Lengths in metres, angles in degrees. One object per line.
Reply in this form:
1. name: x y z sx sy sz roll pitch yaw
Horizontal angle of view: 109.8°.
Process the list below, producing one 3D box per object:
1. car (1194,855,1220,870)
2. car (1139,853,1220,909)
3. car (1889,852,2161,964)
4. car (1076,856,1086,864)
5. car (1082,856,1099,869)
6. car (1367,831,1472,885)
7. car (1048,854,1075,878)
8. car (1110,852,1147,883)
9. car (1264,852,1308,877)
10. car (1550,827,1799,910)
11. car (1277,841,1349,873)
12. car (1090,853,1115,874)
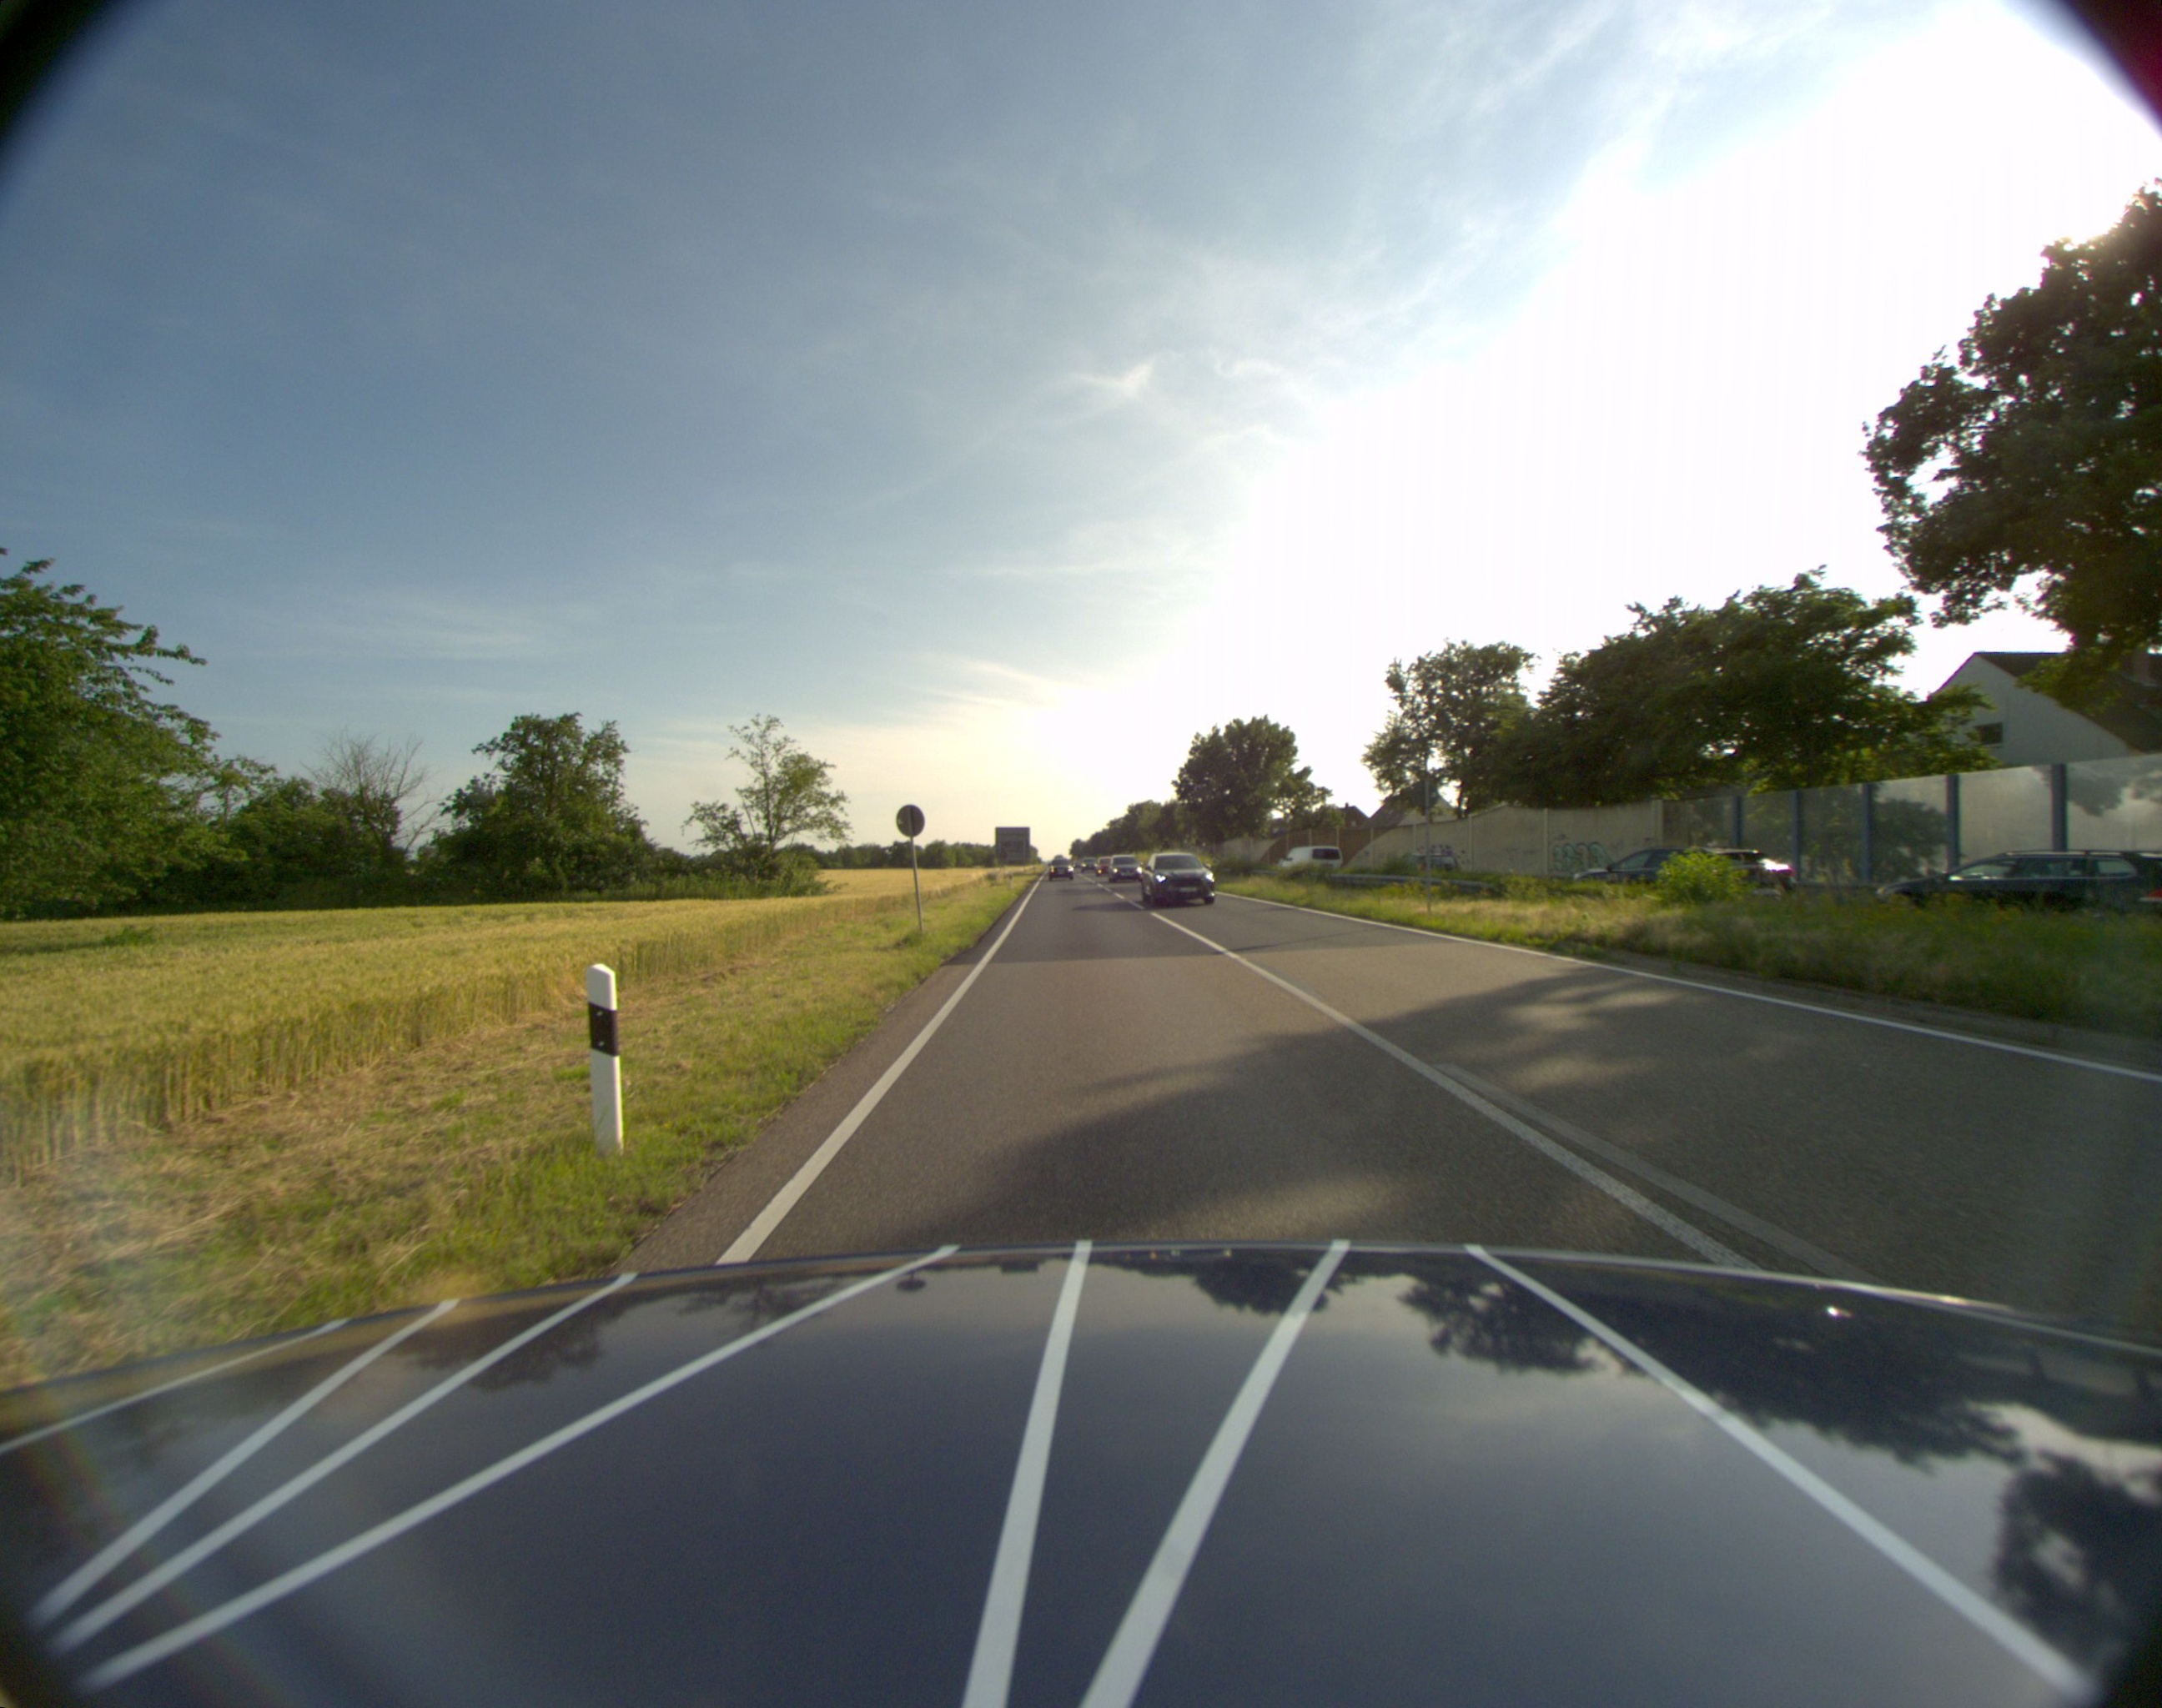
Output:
1. car: 13.133 0.900 79.487 1.759 1.433 3.999 -3 0 -3
2. car: 2.994 0.774 24.006 1.822 1.516 4.245 -3 0 -2
3. car: 16.962 0.804 13.079 1.739 1.608 3.999 -3 0 -2
4. car: -0.015 1.192 149.907 1.693 1.397 3.999 -3 0 -3
5. car: 1.132 0.988 93.310 1.810 1.499 3.999 -3 0 -3
6. car: 12.641 0.149 28.715 1.768 1.822 4.367 -3 0 -3
7. car: -1.468 0.851 55.726 1.823 1.661 3.999 -3 0 -2
8. car: 2.821 0.790 46.197 1.823 1.724 3.999 -3 0 -2
9. car: 14.427 0.694 53.607 1.802 1.630 3.999 -3 0 -2
10. car: 12.359 0.270 16.302 1.519 1.456 4.657 -3 0 -2
11. car: 12.137 0.160 40.197 1.987 1.475 5.058 -3 0 -3
12. car: 1.842 0.754 64.931 1.823 1.661 3.999 -3 0 -2
